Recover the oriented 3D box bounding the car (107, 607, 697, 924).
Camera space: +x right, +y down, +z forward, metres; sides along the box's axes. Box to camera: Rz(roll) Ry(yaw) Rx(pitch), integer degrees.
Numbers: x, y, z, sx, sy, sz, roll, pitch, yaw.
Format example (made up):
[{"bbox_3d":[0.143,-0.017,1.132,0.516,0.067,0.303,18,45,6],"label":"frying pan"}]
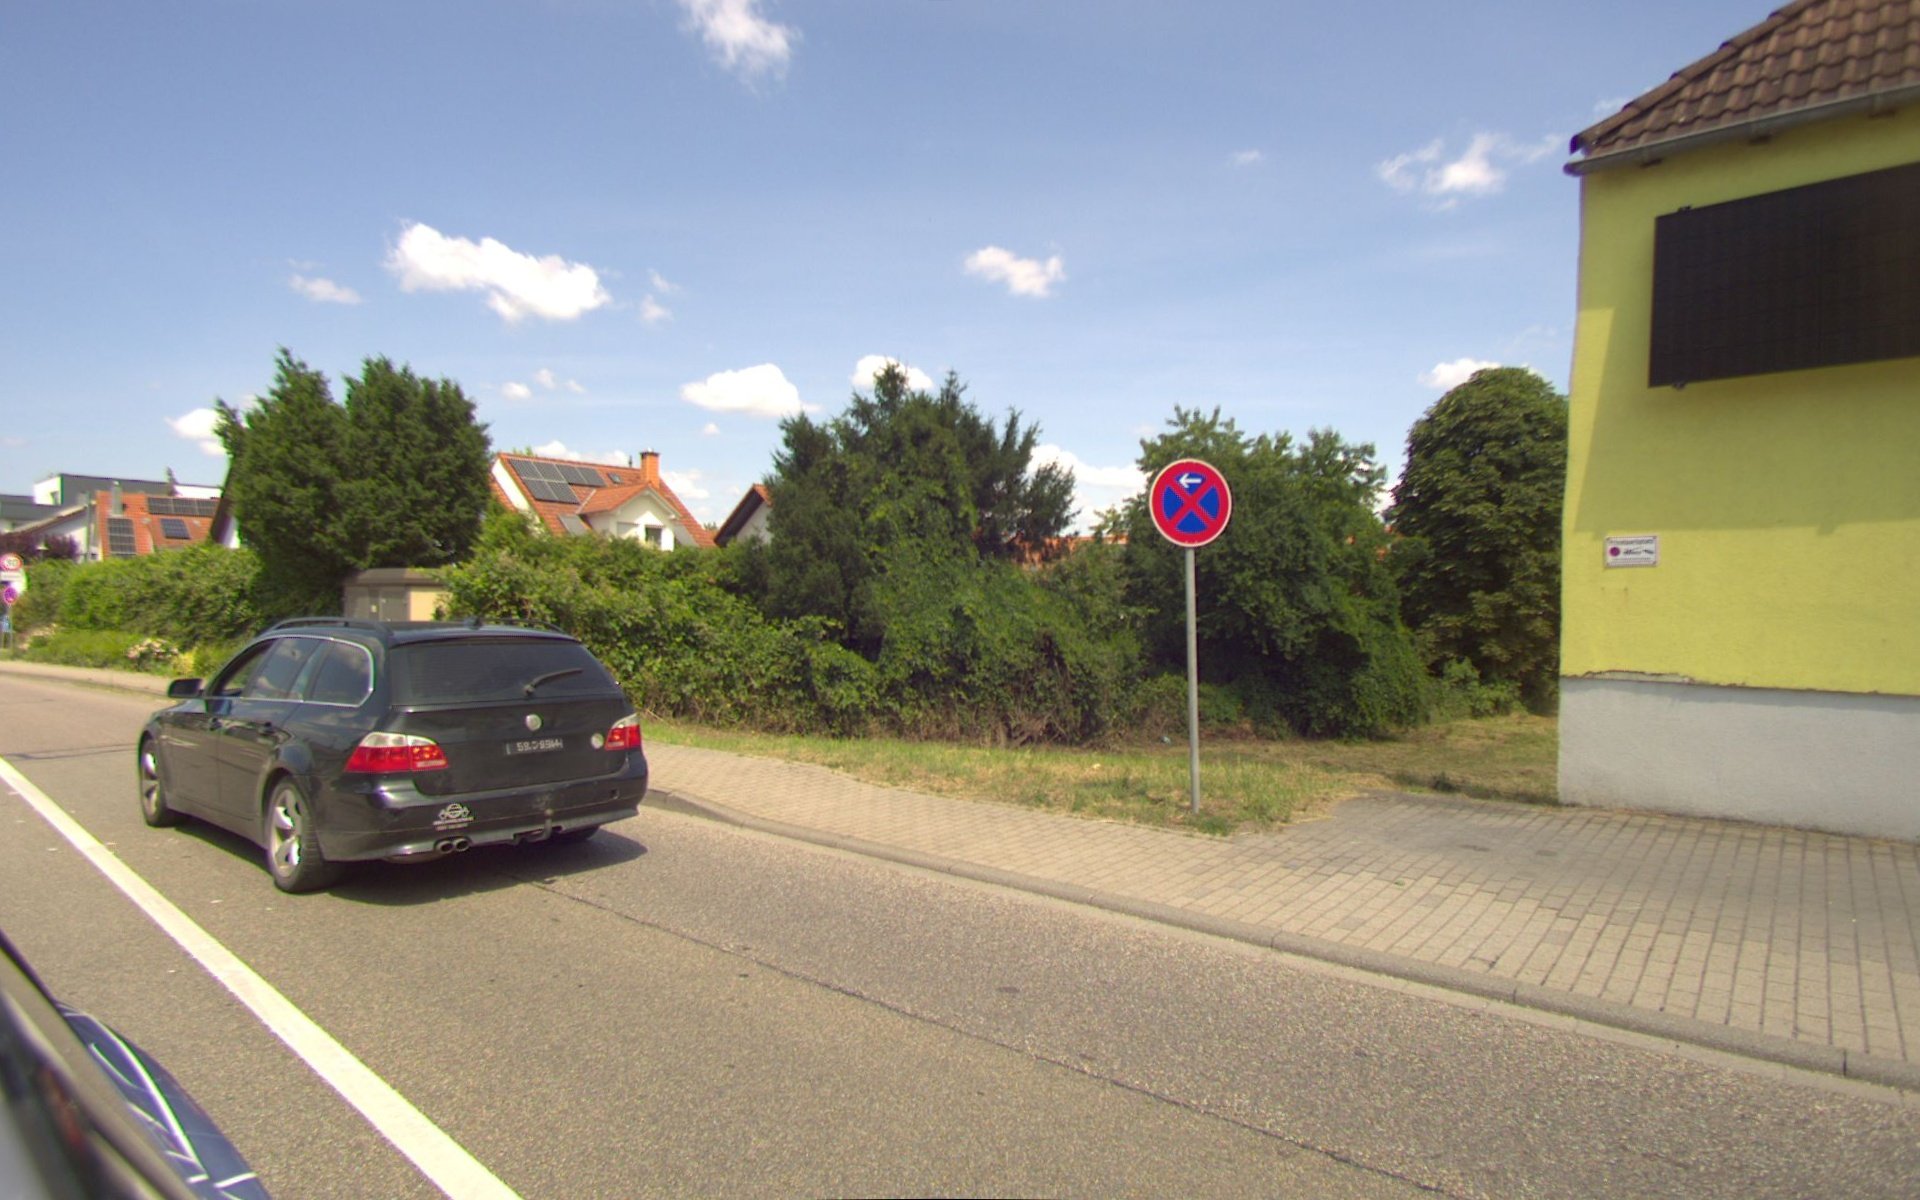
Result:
[{"bbox_3d":[-3.985,0.818,6.856,4.665,1.453,1.845,-1,-2,39],"label":"car"}]
